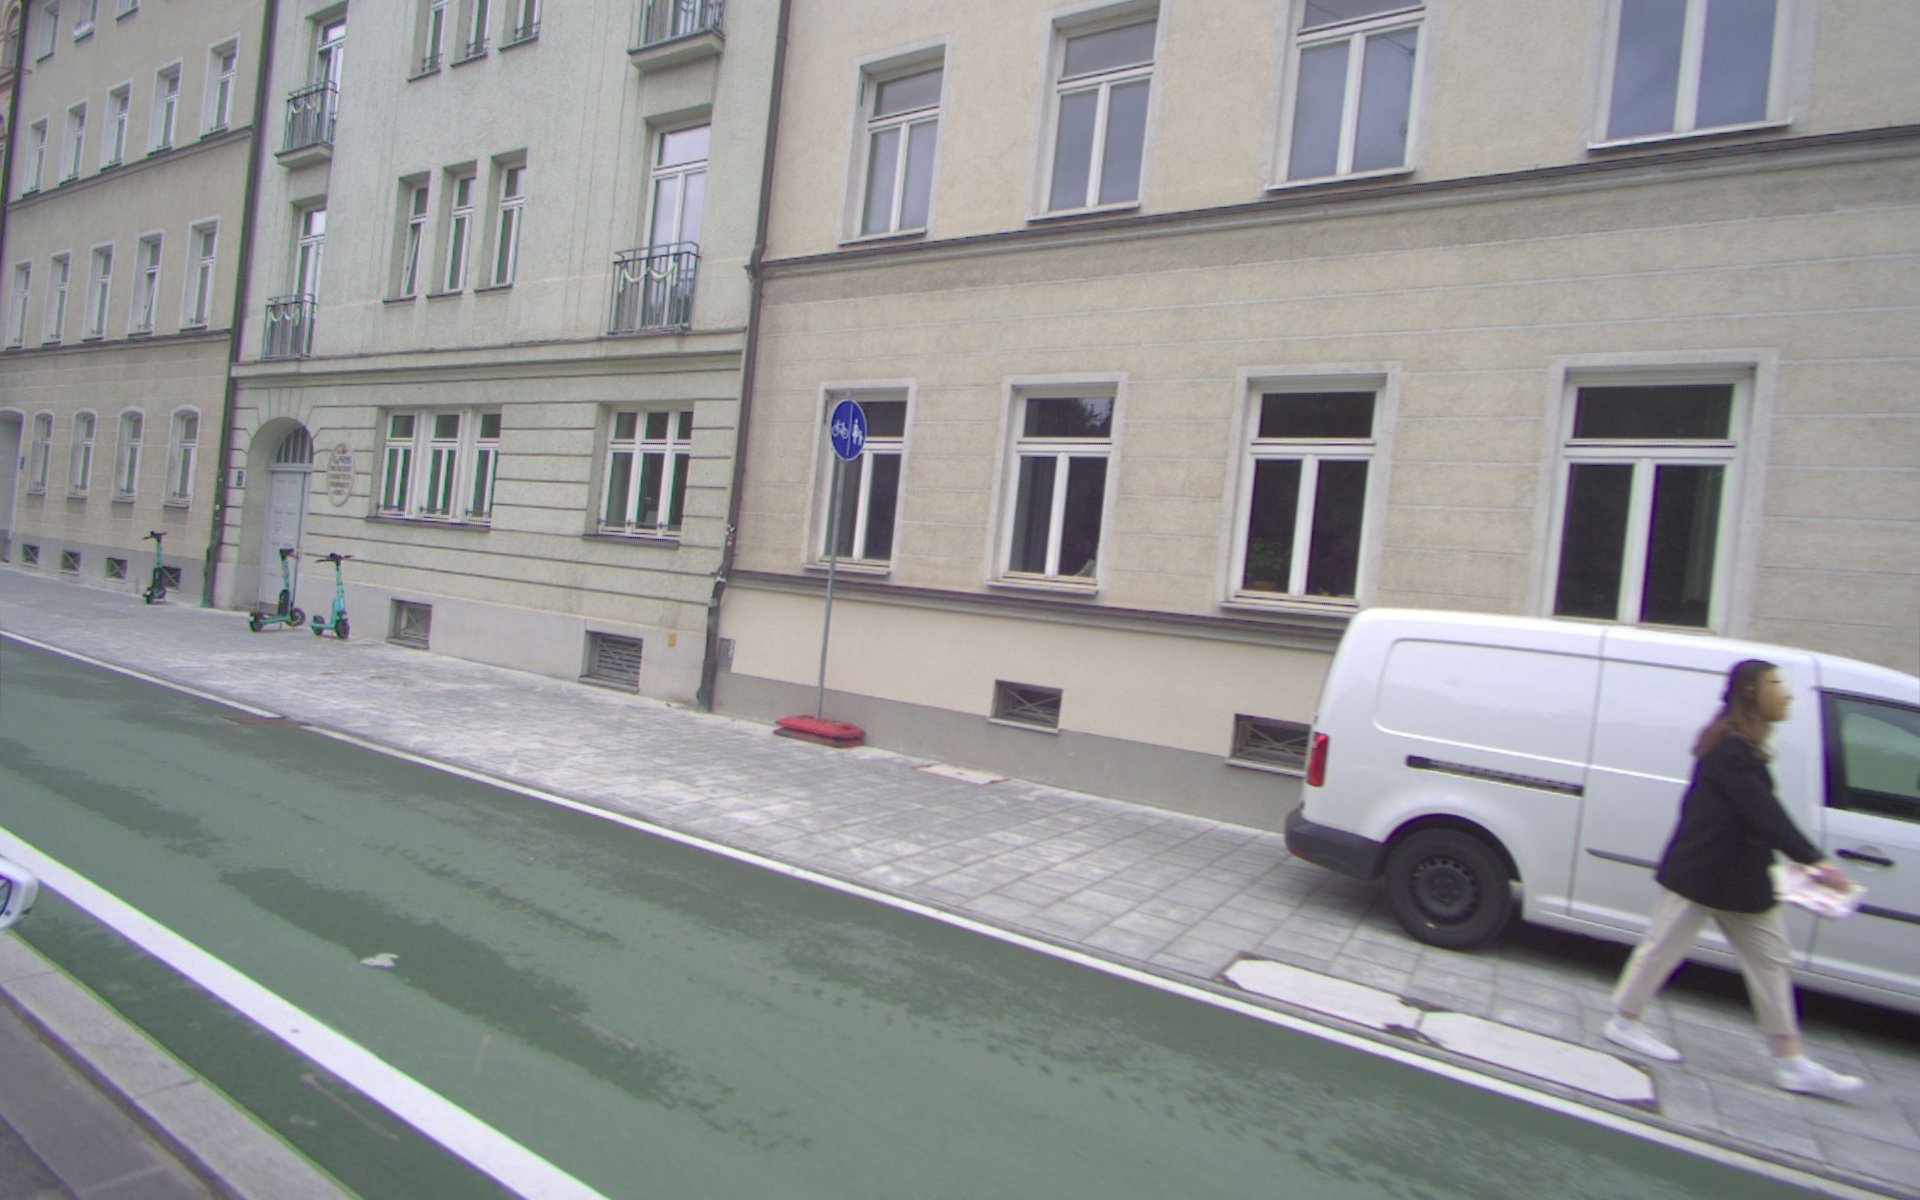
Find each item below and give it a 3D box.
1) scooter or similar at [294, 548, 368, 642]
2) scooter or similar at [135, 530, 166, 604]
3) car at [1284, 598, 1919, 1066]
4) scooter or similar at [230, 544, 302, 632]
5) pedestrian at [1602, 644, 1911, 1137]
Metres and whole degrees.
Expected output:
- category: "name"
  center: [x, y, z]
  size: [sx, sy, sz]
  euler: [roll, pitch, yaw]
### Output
- category: "scooter or similar"
  center: [-9.271, -0.071, 14.820]
  size: [1.101, 1.289, 0.387]
  euler: [5, 1, 31]
- category: "scooter or similar"
  center: [-14.279, -0.592, 17.760]
  size: [0.244, 1.247, 1.110]
  euler: [4, 1, -33]
- category: "car"
  center: [4.215, 1.120, 5.280]
  size: [4.362, 1.772, 1.735]
  euler: [6, 0, 32]
- category: "scooter or similar"
  center: [-10.327, -0.173, 15.003]
  size: [0.242, 1.247, 1.119]
  euler: [5, 1, -2]
- category: "pedestrian"
  center: [3.079, 1.045, 3.983]
  size: [0.725, 1.656, 0.665]
  euler: [6, 1, 31]
